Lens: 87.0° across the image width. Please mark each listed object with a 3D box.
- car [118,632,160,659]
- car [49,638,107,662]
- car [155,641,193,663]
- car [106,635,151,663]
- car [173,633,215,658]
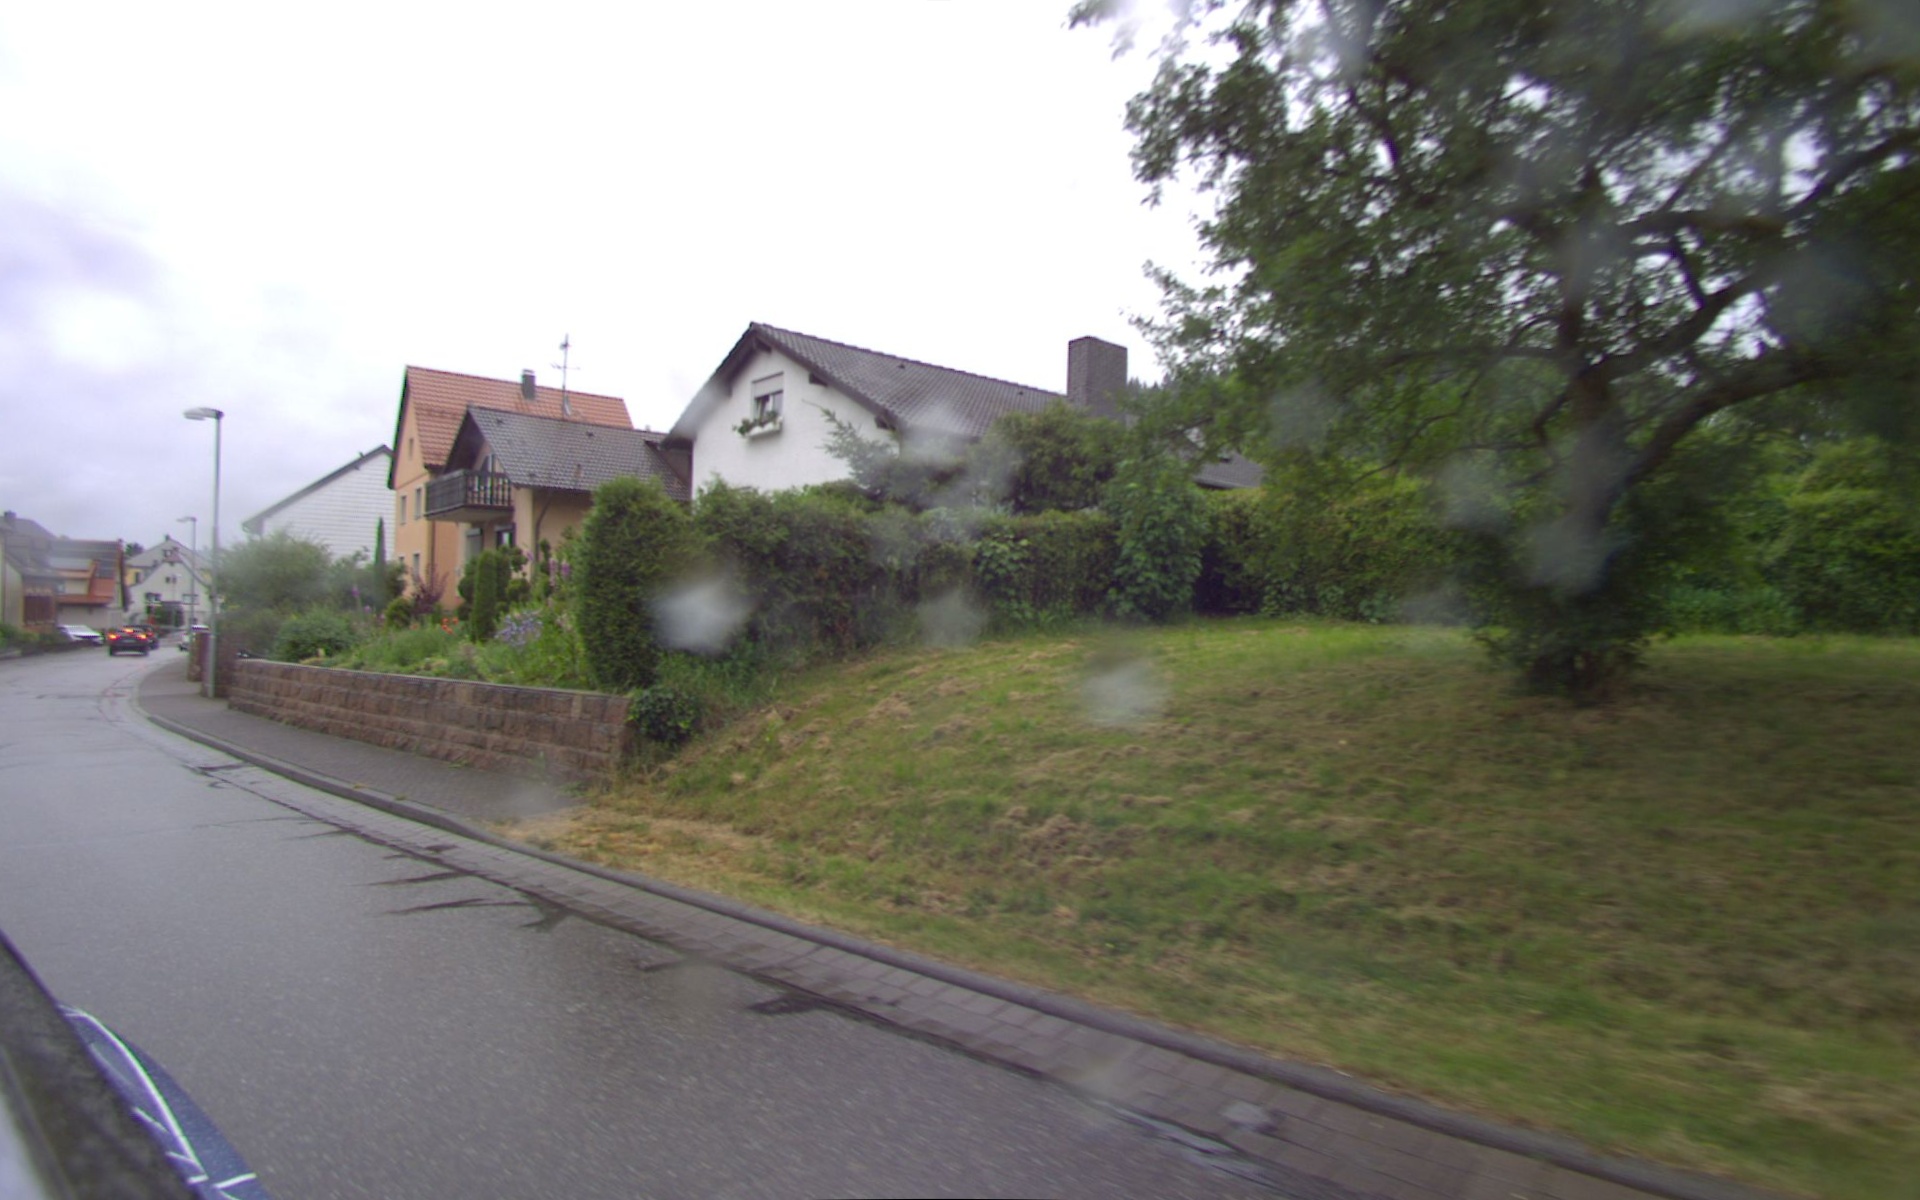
[{"bbox_3d":[-56.025,3.096,69.092,1.809,1.686,5.210,3,-2,-35],"label":"car"},{"bbox_3d":[-62.954,3.563,72.259,3.873,1.587,1.874,-1,0,28],"label":"car"},{"bbox_3d":[-64.072,4.247,82.547,1.786,1.608,4.196,3,-2,-30],"label":"car"},{"bbox_3d":[-48.065,2.829,58.543,1.677,1.558,3.859,4,-4,-36],"label":"car"},{"bbox_3d":[-54.497,3.220,72.051,1.786,1.697,4.196,3,-2,-30],"label":"car"}]
